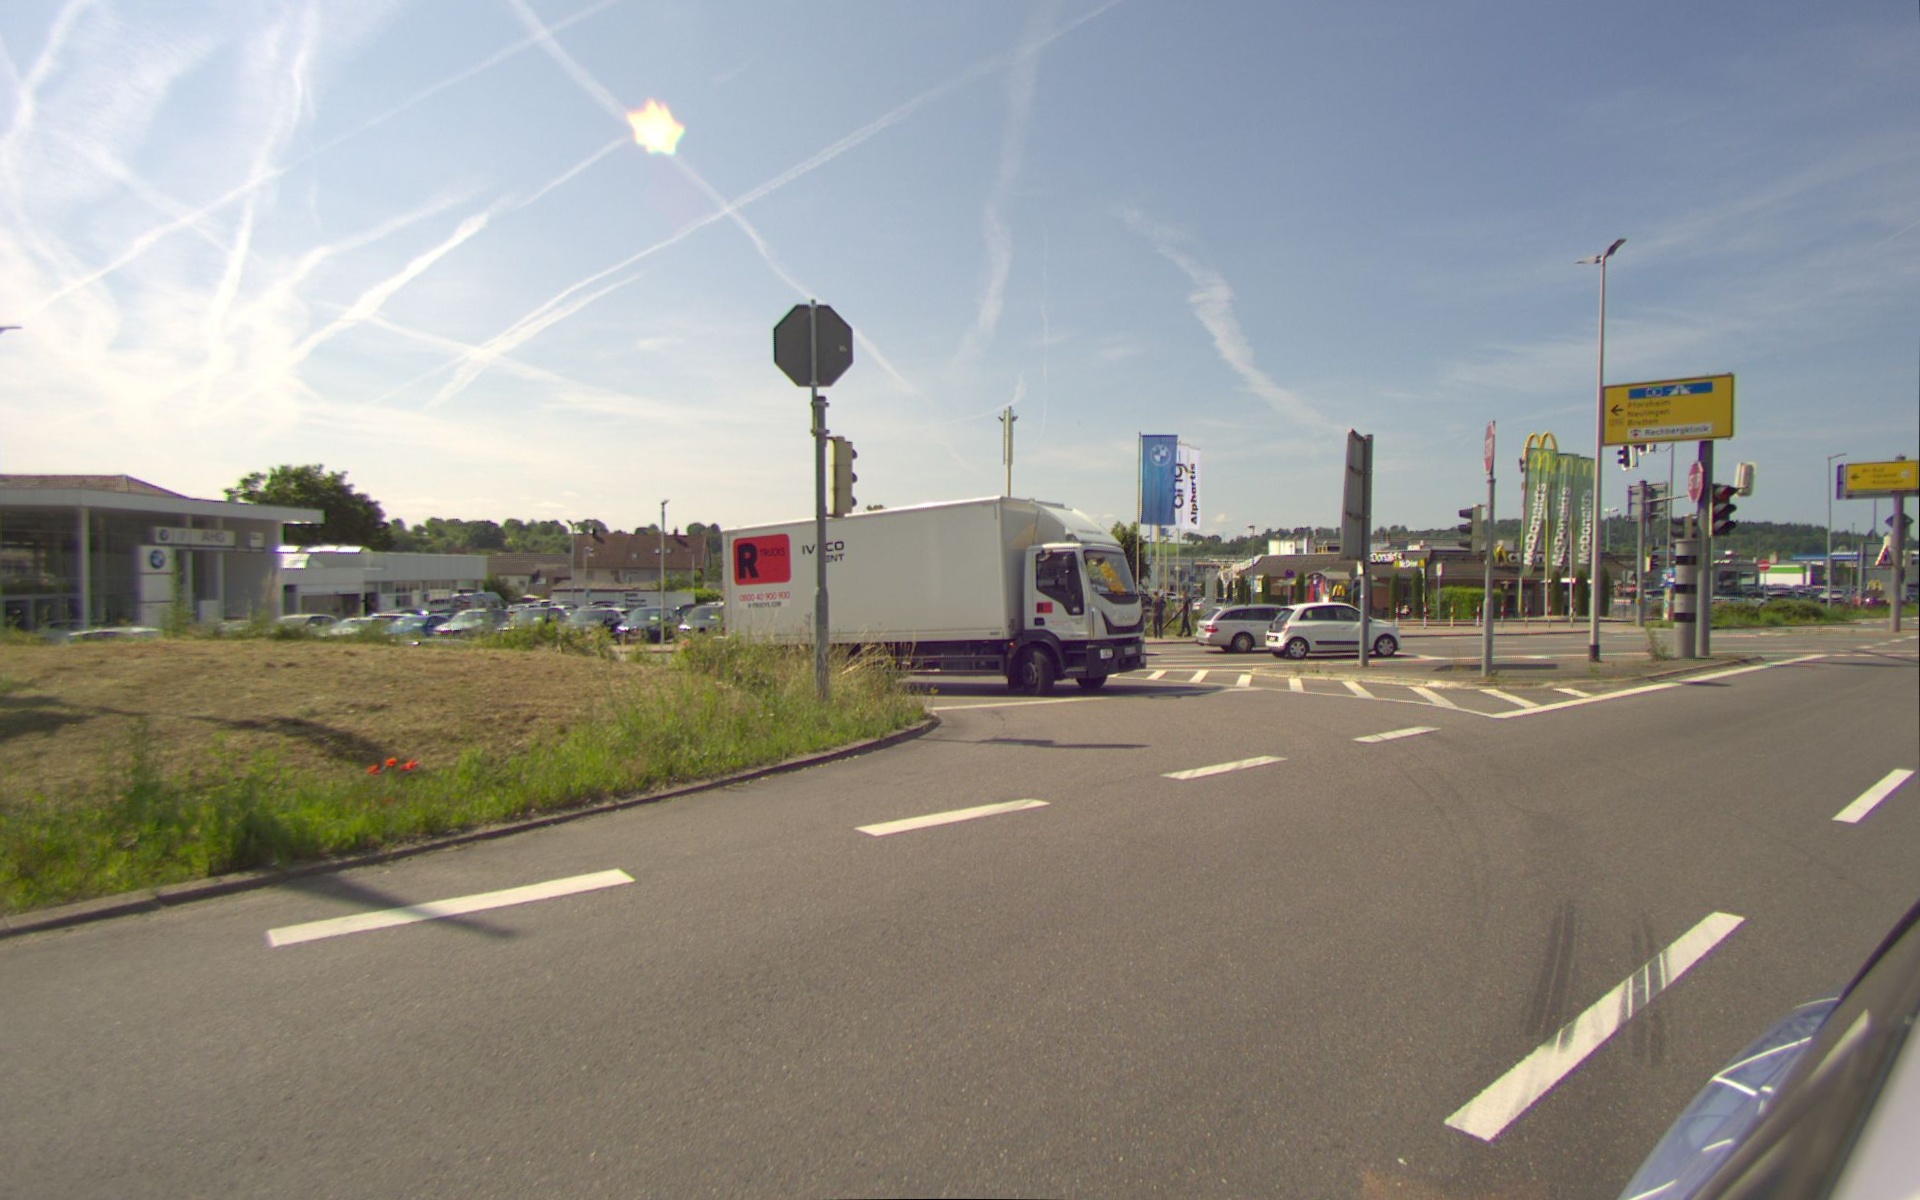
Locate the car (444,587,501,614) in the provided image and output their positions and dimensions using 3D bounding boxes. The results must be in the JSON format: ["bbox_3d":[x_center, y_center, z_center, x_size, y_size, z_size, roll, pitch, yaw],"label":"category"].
[{"bbox_3d":[-33.349,0.031,69.336,1.970,1.637,4.191,1,2,-1],"label":"car"}]

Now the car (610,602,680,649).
[{"bbox_3d":[-13.093,1.020,42.248,2.049,1.637,3.933,1,2,-6],"label":"car"}]

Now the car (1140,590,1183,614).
[{"bbox_3d":[14.380,0.110,72.421,1.961,1.538,4.454,1,2,-3],"label":"car"}]

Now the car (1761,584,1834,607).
[{"bbox_3d":[66.908,-0.377,80.892,3.942,1.691,1.913,2,2,15],"label":"car"}]

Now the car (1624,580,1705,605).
[{"bbox_3d":[53.173,-0.561,76.431,4.723,1.691,1.914,1,2,-3],"label":"car"}]

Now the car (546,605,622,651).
[{"bbox_3d":[-15.581,1.127,42.169,2.049,1.637,4.006,1,2,-6],"label":"car"}]

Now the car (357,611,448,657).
[{"bbox_3d":[-23.069,1.362,42.042,1.959,1.571,4.007,1,2,-7],"label":"car"}]

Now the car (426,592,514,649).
[{"bbox_3d":[-20.310,0.799,42.137,2.027,2.060,4.088,1,2,-6],"label":"car"}]

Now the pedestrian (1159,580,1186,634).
[{"bbox_3d":[8.189,0.261,39.087,0.861,2.039,0.665,0,1,-3],"label":"pedestrian"}]

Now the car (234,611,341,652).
[{"bbox_3d":[-27.771,1.275,41.947,1.961,1.389,4.004,1,2,-3],"label":"car"}]

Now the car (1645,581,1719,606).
[{"bbox_3d":[52.731,-0.469,73.973,4.088,1.691,1.778,1,2,-3],"label":"car"}]

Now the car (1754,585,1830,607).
[{"bbox_3d":[61.718,-0.317,75.087,4.180,1.510,1.751,1,2,-3],"label":"car"}]

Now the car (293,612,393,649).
[{"bbox_3d":[-25.448,1.246,41.903,1.960,1.204,4.006,1,2,-5],"label":"car"}]

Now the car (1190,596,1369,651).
[{"bbox_3d":[9.922,0.713,31.682,4.905,1.524,2.000,-2,0,1],"label":"car"}]

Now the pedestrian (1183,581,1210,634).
[{"bbox_3d":[9.127,0.280,39.119,0.861,2.039,0.665,0,1,-3],"label":"pedestrian"}]

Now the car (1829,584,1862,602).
[{"bbox_3d":[86.875,-0.676,99.318,4.630,1.674,1.905,-1,3,-43],"label":"car"}]

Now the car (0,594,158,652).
[{"bbox_3d":[-25.346,0.631,28.346,4.241,1.478,2.000,-1,2,3],"label":"car"}]

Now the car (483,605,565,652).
[{"bbox_3d":[-18.032,1.159,42.081,2.062,1.637,4.088,1,2,-7],"label":"car"}]

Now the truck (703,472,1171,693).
[{"bbox_3d":[-0.836,-0.083,20.682,9.631,3.674,2.734,-3,-1,34],"label":"truck"}]

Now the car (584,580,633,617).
[{"bbox_3d":[-17.611,-0.098,50.855,1.966,1.637,4.092,1,2,-15],"label":"car"}]

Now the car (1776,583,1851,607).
[{"bbox_3d":[66.227,-0.377,78.607,3.977,1.691,1.764,2,2,21],"label":"car"}]

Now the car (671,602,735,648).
[{"bbox_3d":[-10.688,1.006,42.314,2.049,1.637,4.042,1,2,-6],"label":"car"}]

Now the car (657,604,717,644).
[{"bbox_3d":[-13.152,1.130,48.964,1.969,1.637,4.086,1,2,-3],"label":"car"}]

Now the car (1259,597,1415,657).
[{"bbox_3d":[10.515,0.737,28.394,3.684,1.523,1.711,-2,0,0],"label":"car"}]

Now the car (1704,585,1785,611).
[{"bbox_3d":[53.780,-0.136,69.423,4.150,1.595,1.863,1,2,-3],"label":"car"}]

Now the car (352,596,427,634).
[{"bbox_3d":[-28.261,0.719,50.260,1.967,1.637,4.090,1,2,-9],"label":"car"}]
